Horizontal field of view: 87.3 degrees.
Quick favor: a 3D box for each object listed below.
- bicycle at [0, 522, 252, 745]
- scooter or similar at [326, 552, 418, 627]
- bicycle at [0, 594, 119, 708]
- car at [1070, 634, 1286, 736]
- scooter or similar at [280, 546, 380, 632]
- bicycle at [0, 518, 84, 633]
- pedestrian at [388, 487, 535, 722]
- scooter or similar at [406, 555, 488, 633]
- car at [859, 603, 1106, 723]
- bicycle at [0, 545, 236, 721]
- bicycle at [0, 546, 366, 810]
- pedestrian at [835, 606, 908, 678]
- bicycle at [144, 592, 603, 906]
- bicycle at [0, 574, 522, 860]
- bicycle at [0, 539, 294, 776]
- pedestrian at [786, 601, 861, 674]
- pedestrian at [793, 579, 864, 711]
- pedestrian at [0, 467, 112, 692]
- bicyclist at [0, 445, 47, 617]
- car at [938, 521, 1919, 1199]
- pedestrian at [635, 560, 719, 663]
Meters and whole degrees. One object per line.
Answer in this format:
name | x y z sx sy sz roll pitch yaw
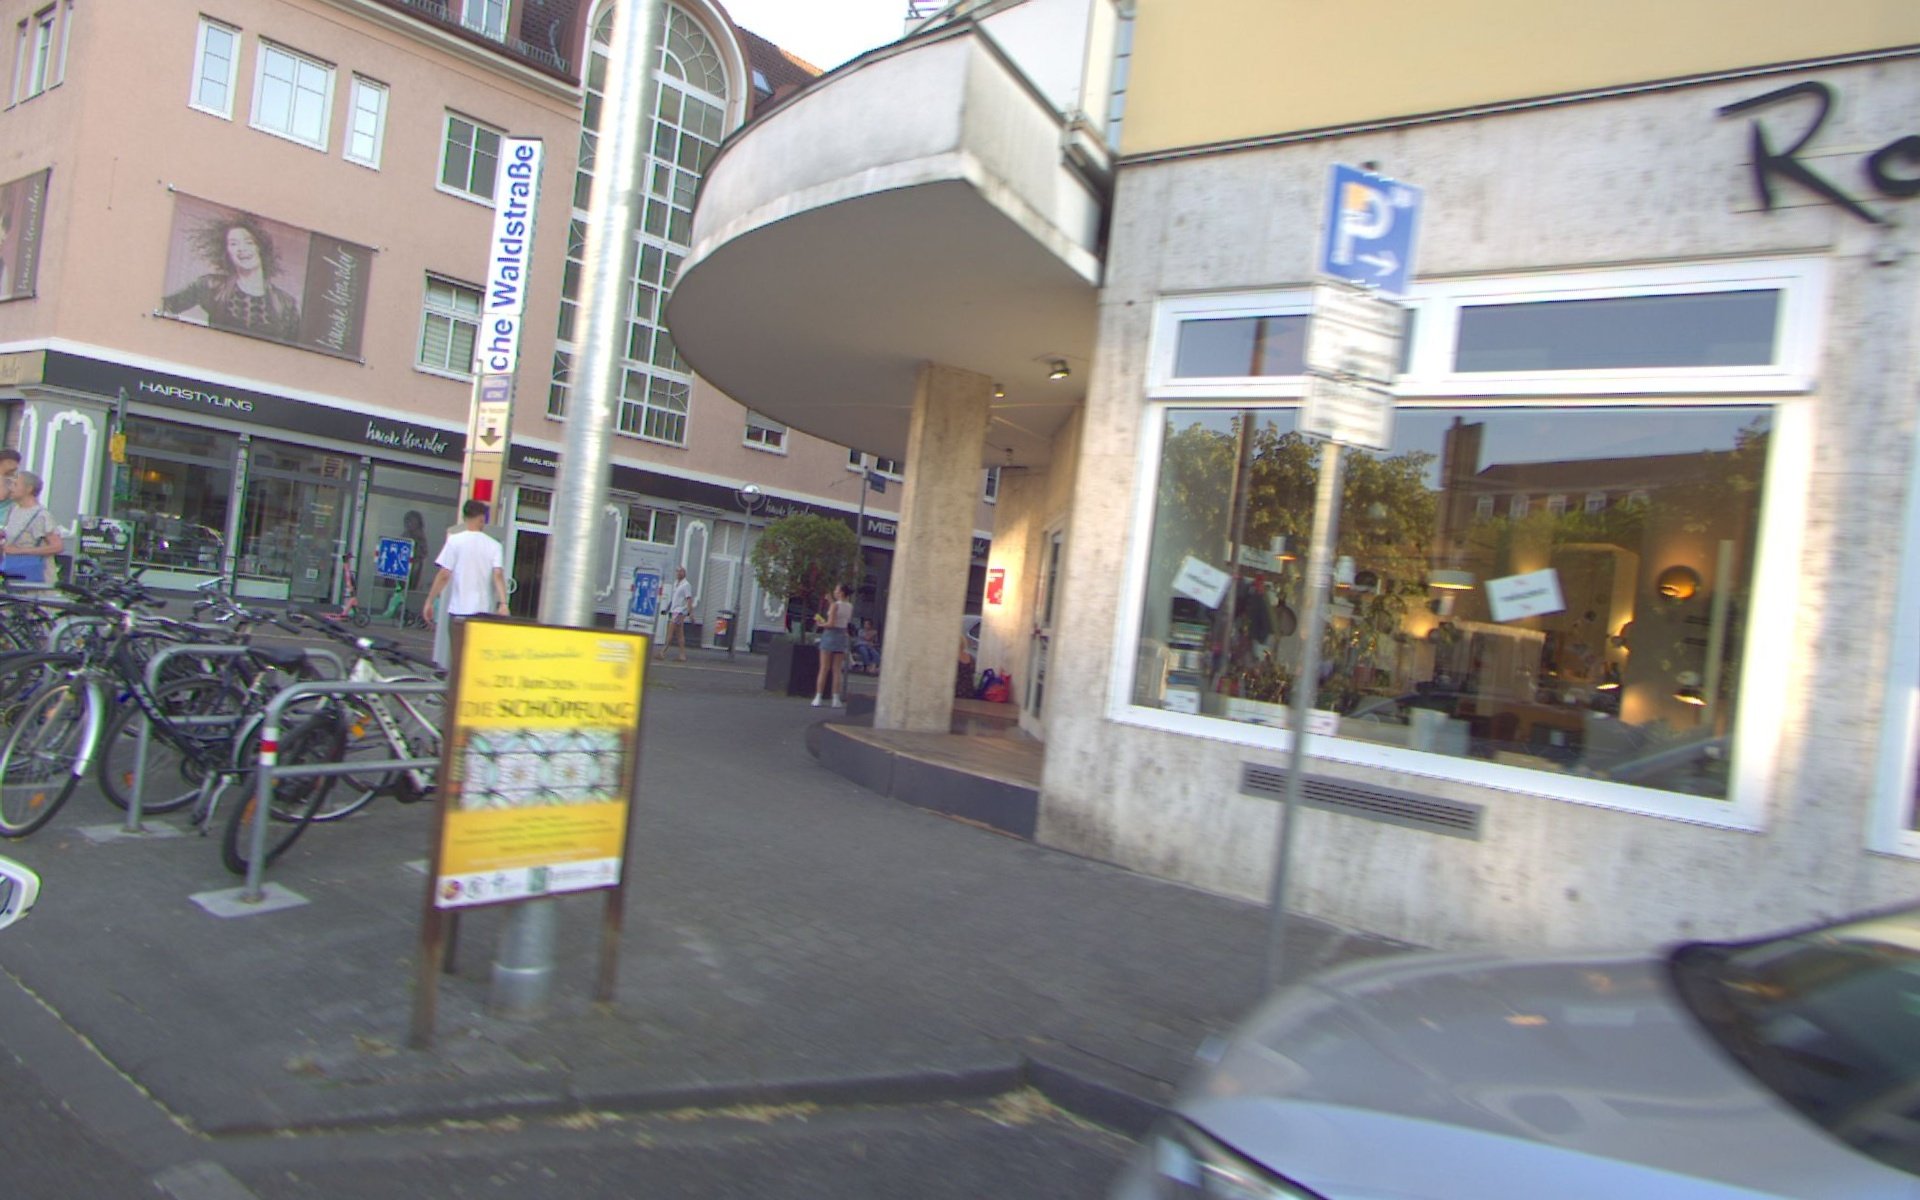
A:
bicycle | -5.569 0.196 6.157 0.628 1.254 1.848 7 -1 26
scooter or similar | -10.447 -0.181 17.894 1.292 1.156 0.361 8 -1 -32
bicycle | -6.905 0.339 7.154 1.031 0.689 1.008 7 -1 23
car | 4.603 1.802 20.965 4.407 1.603 1.925 9 -1 -38
scooter or similar | -10.300 -0.174 16.453 1.247 1.229 0.463 8 -1 -36
bicycle | -10.993 -0.341 11.110 0.782 1.200 1.818 7 -1 40
pedestrian | -4.268 0.045 8.689 0.814 1.839 0.868 7 0 -17
scooter or similar | -9.407 -0.098 18.451 1.192 1.275 0.360 8 -1 -33
car | 0.461 1.133 17.643 3.959 1.611 1.816 9 -1 -39
bicycle | -6.186 0.212 6.927 0.705 1.077 1.787 7 0 20
bicycle | -4.362 0.383 5.554 0.611 1.188 1.787 7 0 20
pedestrian | -2.031 0.966 23.171 1.209 1.429 0.890 9 0 33
bicycle | -2.607 0.610 4.768 0.584 1.137 1.850 6 0 20
bicycle | -3.486 0.533 5.210 0.791 1.088 2.175 7 0 25
bicycle | -4.954 0.304 5.768 0.611 1.188 1.787 7 0 20
pedestrian | -3.072 0.846 22.674 1.209 1.429 0.890 9 0 33
pedestrian | -1.817 0.615 13.930 0.743 1.688 0.732 7 -1 -8
pedestrian | -7.453 -0.181 7.922 0.780 1.673 0.778 7 0 -15
bicyclist | -10.891 -0.806 11.181 0.819 1.848 0.833 7 0 39
car | 2.373 1.020 0.958 4.603 1.635 1.701 7 -1 30
pedestrian | -5.306 0.232 18.908 0.811 1.796 1.100 7 0 25
